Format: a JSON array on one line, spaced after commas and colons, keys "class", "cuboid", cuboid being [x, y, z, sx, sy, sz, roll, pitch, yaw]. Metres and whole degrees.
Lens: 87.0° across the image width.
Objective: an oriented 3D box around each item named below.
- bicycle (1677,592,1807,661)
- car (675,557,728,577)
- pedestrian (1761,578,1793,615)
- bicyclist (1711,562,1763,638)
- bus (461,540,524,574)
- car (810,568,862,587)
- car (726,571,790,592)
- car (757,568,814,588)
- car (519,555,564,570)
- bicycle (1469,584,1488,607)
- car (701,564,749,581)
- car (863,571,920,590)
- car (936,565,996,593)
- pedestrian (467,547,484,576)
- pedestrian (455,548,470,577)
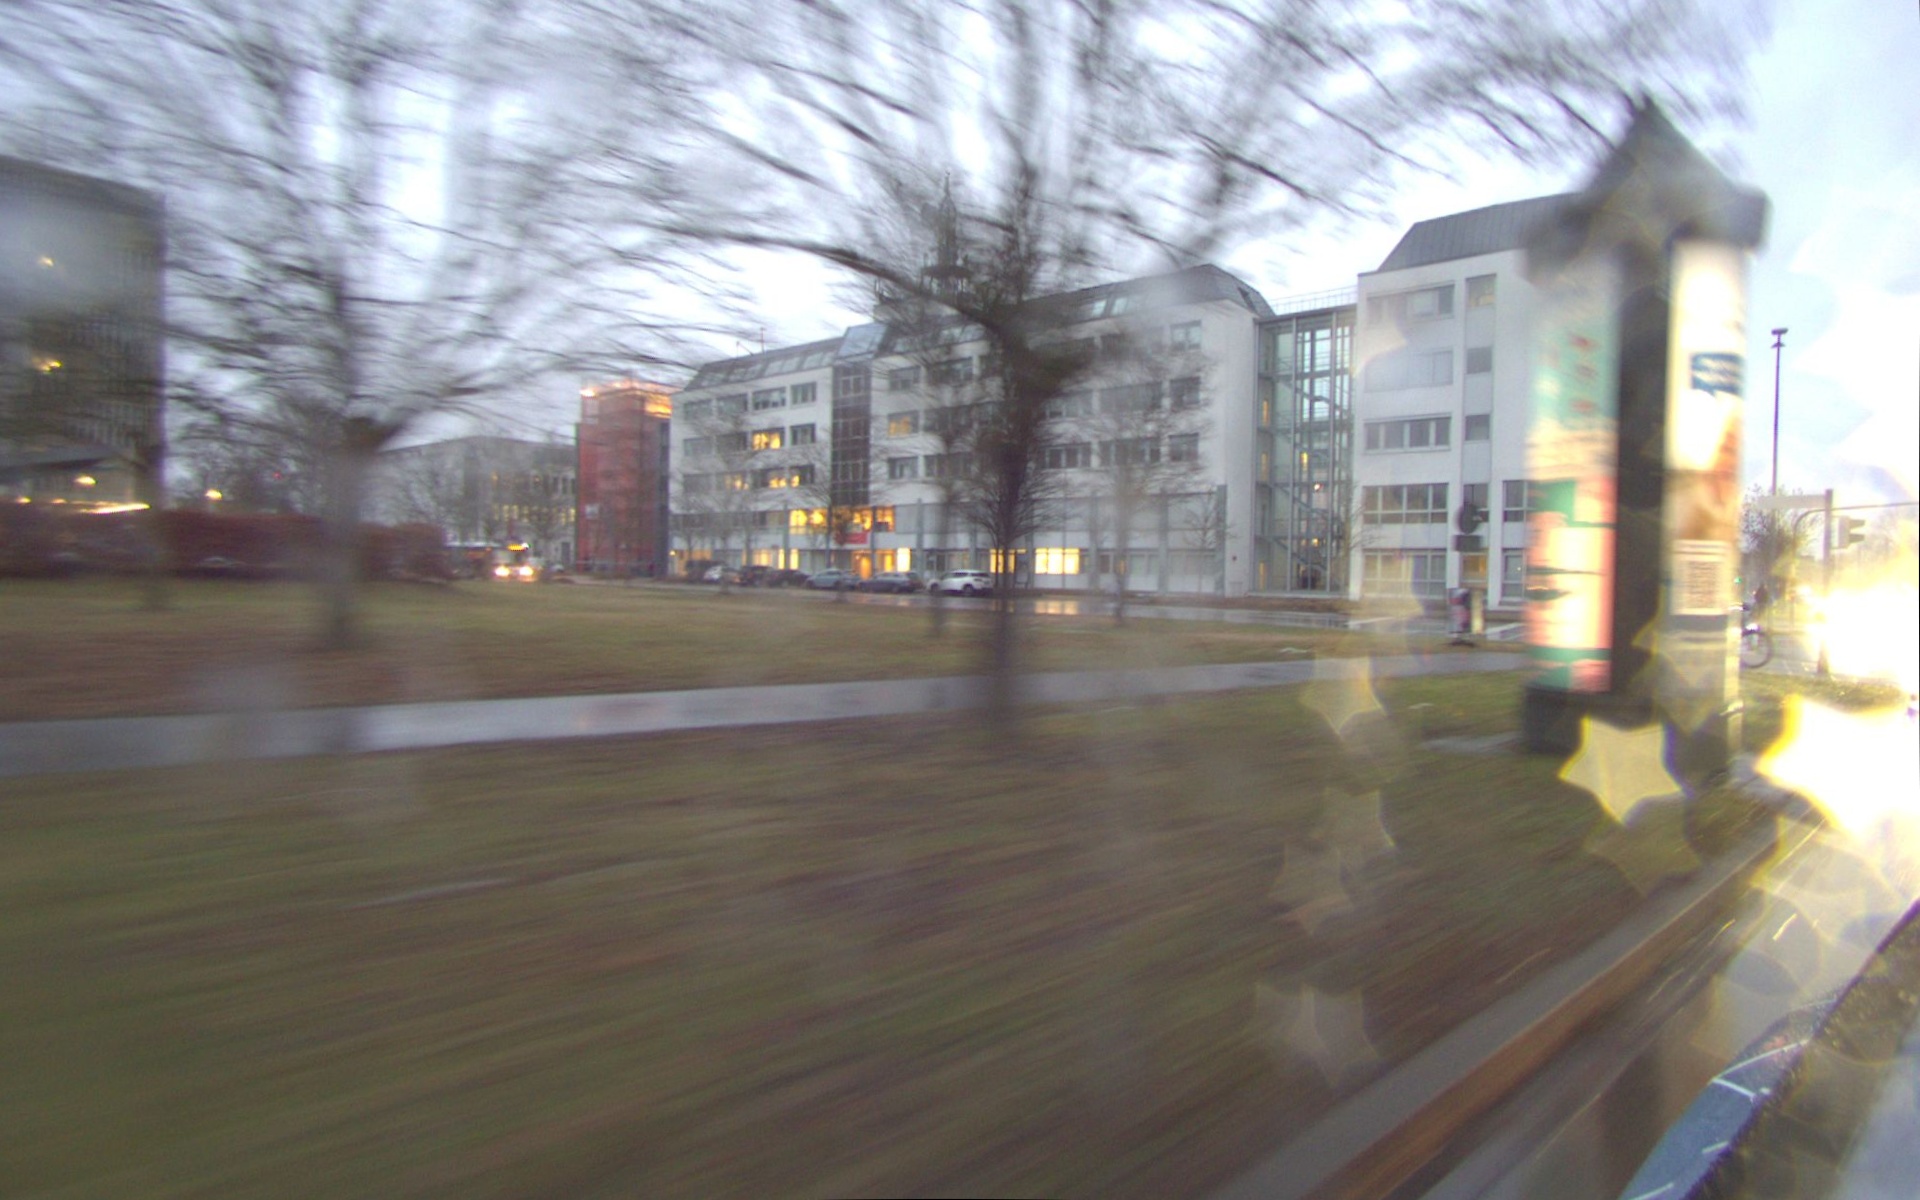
[{"class": "bicycle", "cuboid": [15.349, 0.498, 19.948, 1.958, 1.231, 1.027, 3, 1, 36]}, {"class": "car", "cuboid": [-21.045, -2.725, 82.600, 1.599, 1.547, 4.066, 0, 2, 39]}, {"class": "pedestrian", "cuboid": [40.704, -0.189, 50.435, 0.843, 1.771, 0.801, 2, 4, -23]}, {"class": "bicyclist", "cuboid": [15.328, -0.009, 19.952, 0.750, 1.448, 0.913, 0, 1, 42]}, {"class": "bus", "cuboid": [-40.762, -3.694, 88.168, 8.123, 2.746, 2.261, 0, 2, 45]}, {"class": "car", "cuboid": [-8.844, -1.603, 71.926, 3.772, 1.241, 1.359, 0, 1, 35]}, {"class": "car", "cuboid": [-15.605, -1.444, 78.379, 1.765, 1.575, 4.742, 0, 2, 41]}, {"class": "car", "cuboid": [-13.059, -1.694, 76.043, 1.764, 1.439, 4.076, 0, 2, 39]}, {"class": "car", "cuboid": [-41.789, -3.770, 101.038, 1.665, 1.472, 3.809, 0, 2, 41]}, {"class": "bicycle", "cuboid": [26.115, -0.238, 50.980, 0.469, 1.118, 1.849, 2, 2, 38]}, {"class": "car", "cuboid": [-18.867, -2.246, 81.352, 1.697, 1.329, 3.448, 0, 2, 40]}, {"class": "car", "cuboid": [-4.624, -1.322, 68.374, 3.698, 1.199, 1.521, 0, 2, 35]}, {"class": "car", "cuboid": [0.381, -1.289, 62.950, 3.265, 1.657, 1.971, 0, 2, 41]}, {"class": "pedestrian", "cuboid": [-34.507, -2.742, 72.081, 0.748, 2.039, 0.803, 0, 1, 40]}, {"class": "pedestrian", "cuboid": [-35.110, -2.666, 71.395, 0.789, 2.039, 0.639, -2, 1, -45]}]
